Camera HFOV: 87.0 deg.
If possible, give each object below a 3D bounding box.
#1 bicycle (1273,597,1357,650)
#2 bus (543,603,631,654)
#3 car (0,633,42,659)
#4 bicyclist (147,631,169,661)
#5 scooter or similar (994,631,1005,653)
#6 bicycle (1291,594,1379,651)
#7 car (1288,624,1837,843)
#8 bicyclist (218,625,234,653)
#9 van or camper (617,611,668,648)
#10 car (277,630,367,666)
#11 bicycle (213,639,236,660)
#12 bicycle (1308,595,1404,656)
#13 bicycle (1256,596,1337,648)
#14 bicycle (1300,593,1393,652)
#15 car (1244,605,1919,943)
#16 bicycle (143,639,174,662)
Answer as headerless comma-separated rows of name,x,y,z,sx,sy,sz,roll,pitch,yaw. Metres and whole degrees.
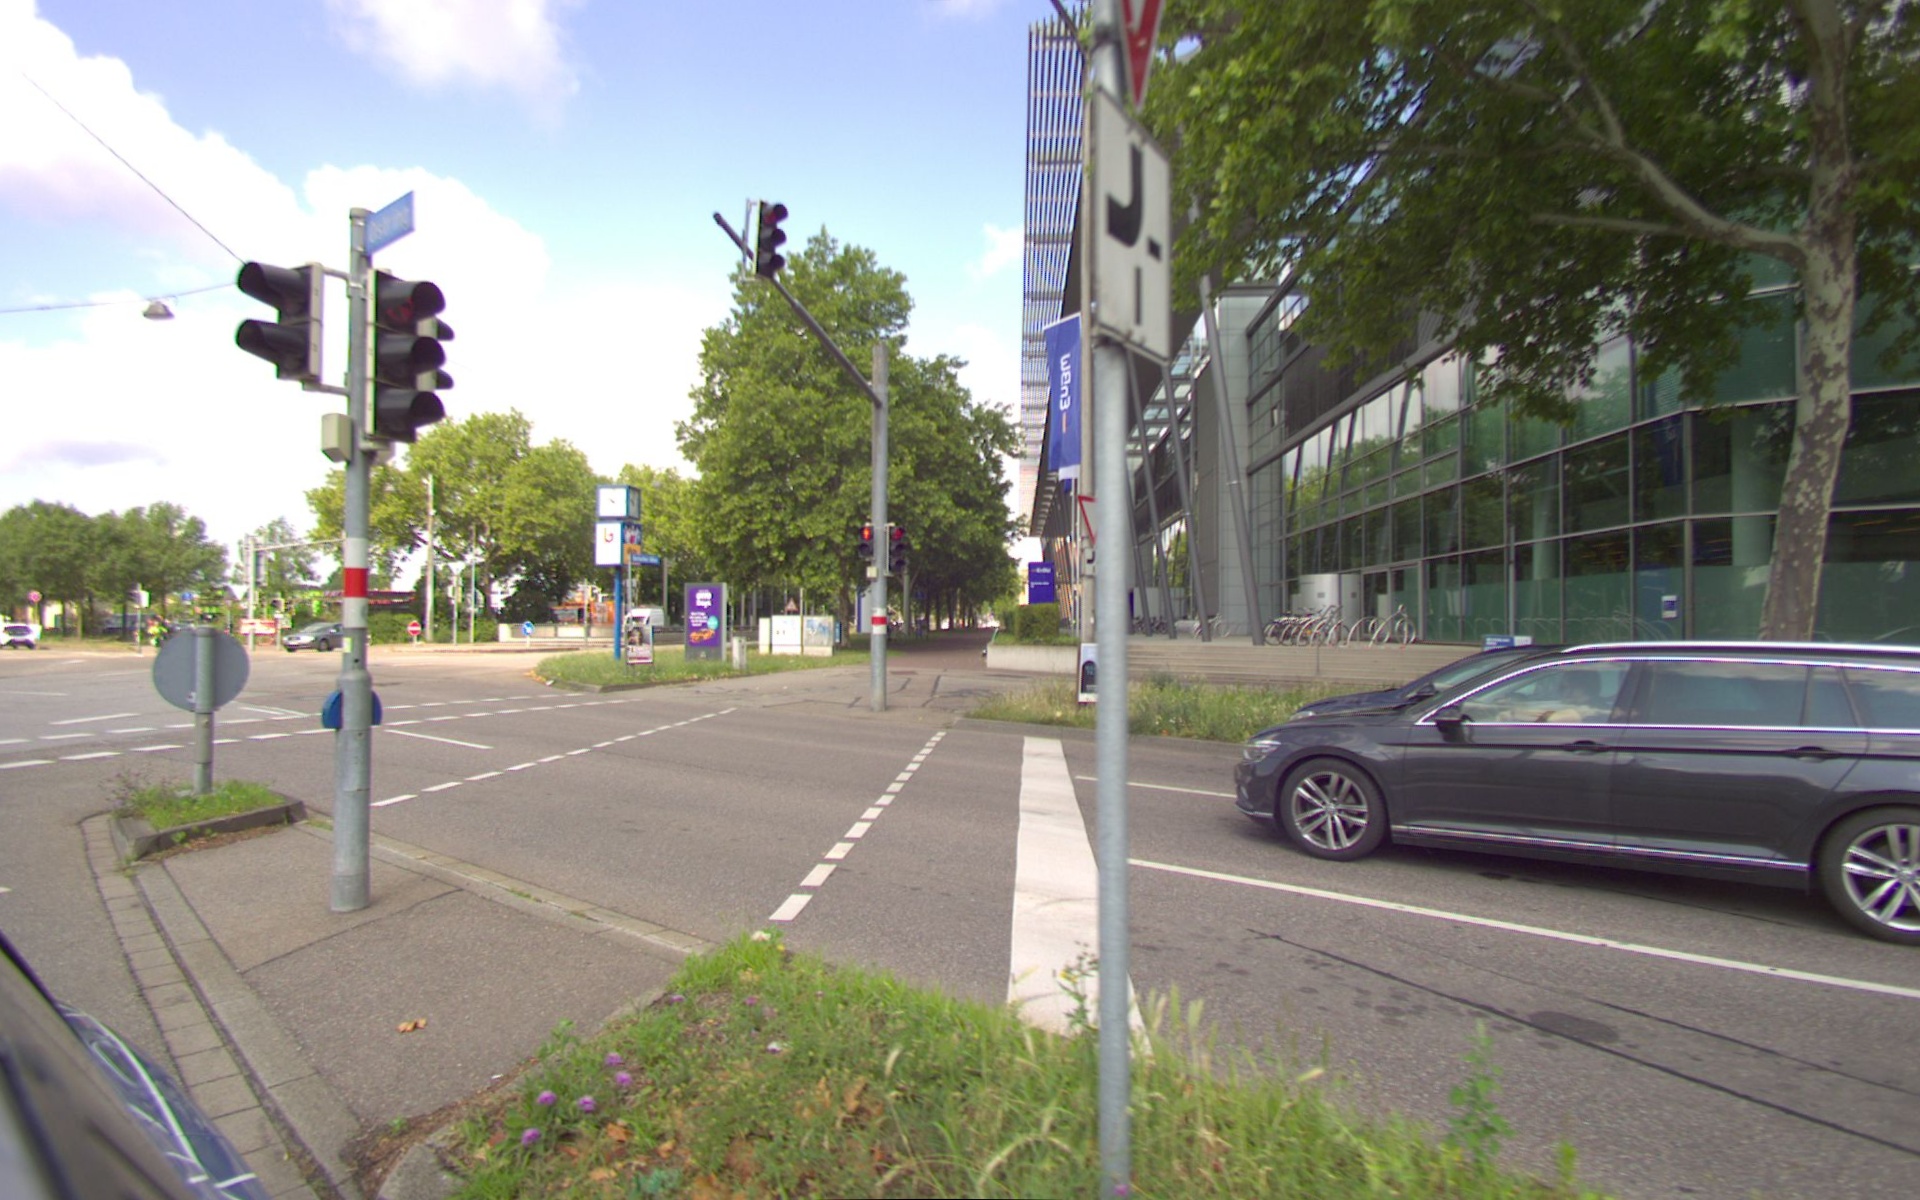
bicycle,10.079,0.658,28.823,2.117,1.394,0.739,2,1,11
bus,-30.092,2.158,82.202,2.711,3.491,10.384,2,1,3
car,-55.503,2.711,58.947,3.780,1.490,1.734,-2,-4,27
bicyclist,-47.191,2.692,59.542,0.834,1.692,0.671,0,4,31
scooter or similar,1.473,1.561,37.634,0.238,0.718,1.228,2,1,8
bicycle,10.314,0.612,27.890,2.159,1.451,0.688,2,1,15
car,5.265,1.035,9.305,3.988,1.584,1.715,-1,-2,33
bicyclist,-45.105,2.364,62.194,0.755,1.699,0.668,-2,-2,45
van or camper,-26.989,2.447,86.268,2.136,2.806,5.961,2,1,2
car,-31.797,2.369,50.569,1.749,1.475,3.996,-1,2,4
bicycle,-45.250,3.045,62.253,0.780,1.205,2.234,2,-2,-45
bicycle,10.169,0.649,26.061,2.159,1.451,0.688,2,1,15
bicycle,9.873,0.631,29.748,2.117,1.394,0.739,2,1,11
bicycle,10.221,0.590,26.834,2.159,1.451,0.688,2,1,15
car,4.269,0.864,6.157,4.563,1.586,1.846,-1,-3,39
bicycle,-47.197,2.936,59.576,2.226,1.205,0.670,1,4,33
